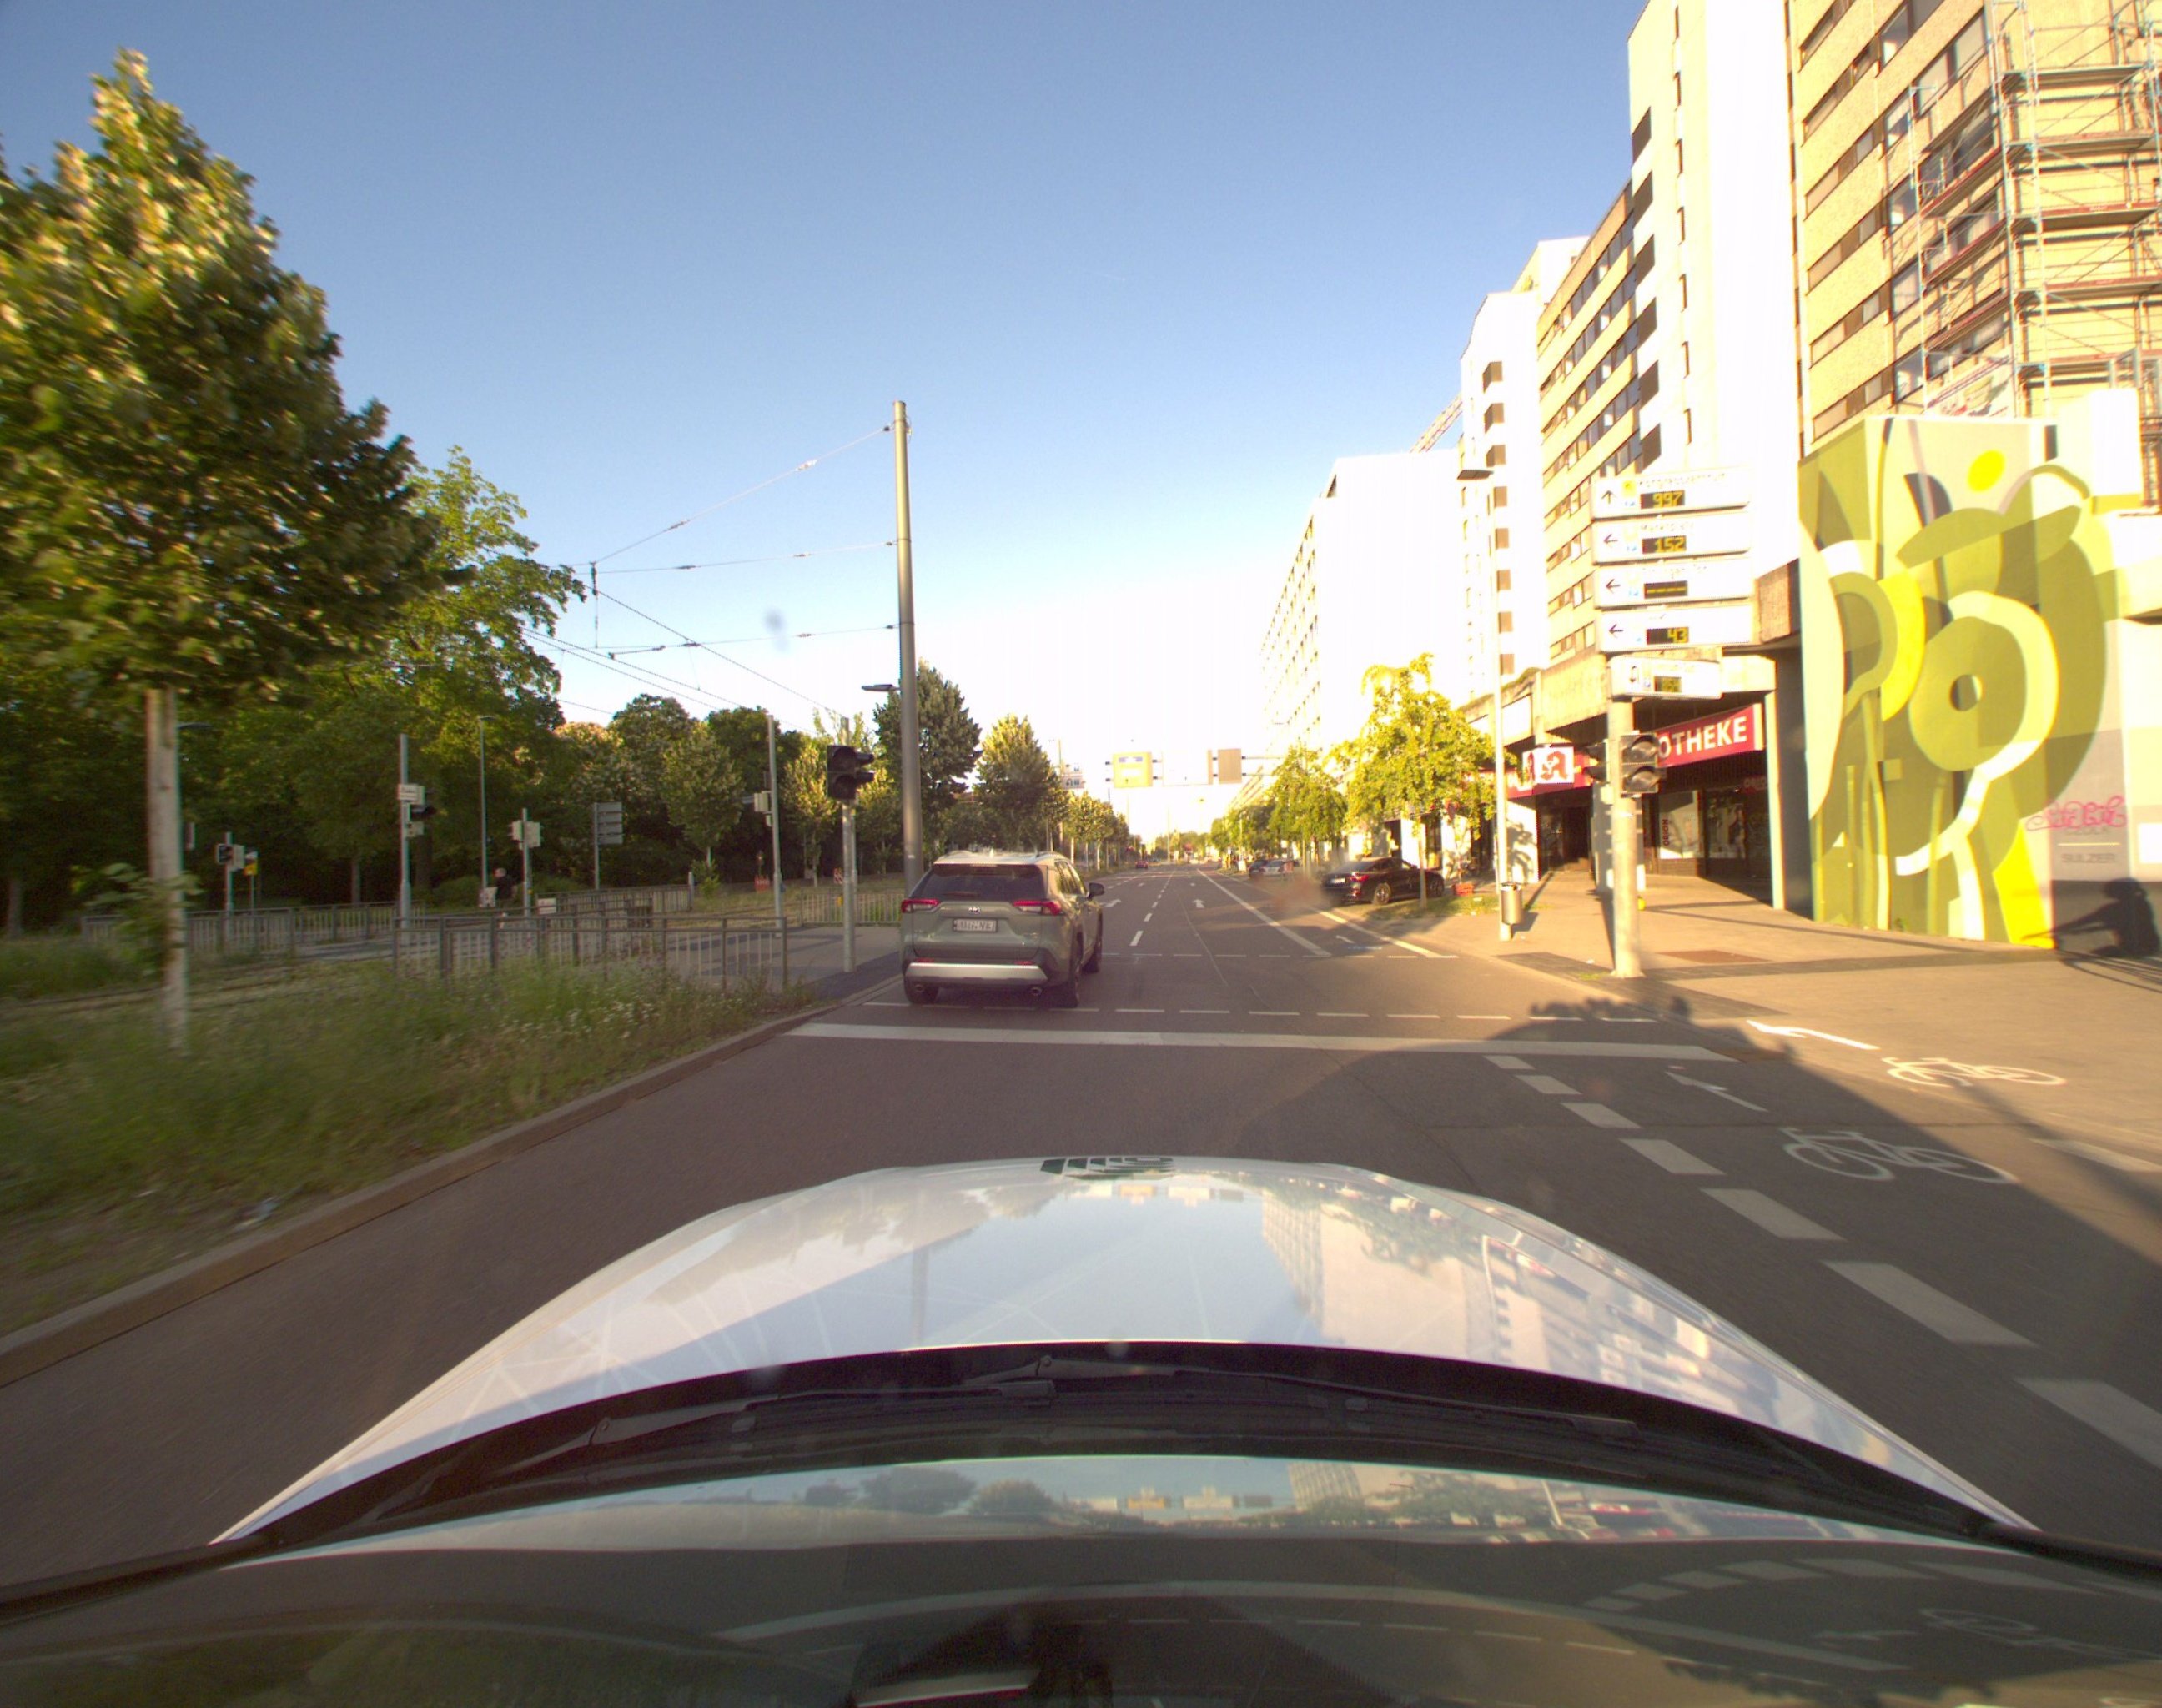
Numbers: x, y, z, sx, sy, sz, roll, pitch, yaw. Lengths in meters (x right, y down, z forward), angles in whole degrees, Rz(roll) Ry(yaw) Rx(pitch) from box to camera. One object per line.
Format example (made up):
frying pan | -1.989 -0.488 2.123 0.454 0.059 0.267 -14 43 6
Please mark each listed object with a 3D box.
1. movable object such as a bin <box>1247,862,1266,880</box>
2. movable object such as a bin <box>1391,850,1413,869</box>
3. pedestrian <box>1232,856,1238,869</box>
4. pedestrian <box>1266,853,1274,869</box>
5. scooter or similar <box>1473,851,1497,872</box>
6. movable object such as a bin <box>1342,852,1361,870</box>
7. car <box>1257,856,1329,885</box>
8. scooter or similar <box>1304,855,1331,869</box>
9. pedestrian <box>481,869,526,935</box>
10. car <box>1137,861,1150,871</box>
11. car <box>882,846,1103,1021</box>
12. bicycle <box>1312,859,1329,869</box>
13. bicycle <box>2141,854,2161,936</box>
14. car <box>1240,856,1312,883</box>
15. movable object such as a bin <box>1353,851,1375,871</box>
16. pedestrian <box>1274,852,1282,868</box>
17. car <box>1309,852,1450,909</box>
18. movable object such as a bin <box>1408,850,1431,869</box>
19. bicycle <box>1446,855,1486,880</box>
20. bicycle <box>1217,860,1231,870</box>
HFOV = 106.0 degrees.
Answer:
movable object such as a bin | 12.775 1.219 59.244 1.081 1.301 1.361 -2 -1 0
movable object such as a bin | 23.301 0.398 59.062 1.176 1.313 1.126 -2 0 5
pedestrian | 20.439 1.139 108.056 0.650 1.702 0.690 -4 -1 6
pedestrian | 22.523 0.788 96.961 0.738 1.849 0.944 -4 -2 16
scooter or similar | 22.999 0.433 46.350 0.400 1.161 1.829 1 0 -3
movable object such as a bin | 21.082 0.537 63.544 1.099 1.330 1.285 -4 -1 6
car | 12.428 0.971 47.625 4.005 1.417 1.733 -3 -1 -32
scooter or similar | 23.045 0.771 79.441 2.360 1.183 0.622 -3 -1 5
pedestrian | -14.978 1.220 21.133 0.663 1.607 0.682 1 4 31
car | 8.868 1.738 115.847 1.665 1.352 4.008 0 0 7
car | -0.809 0.767 9.995 1.825 1.672 4.289 0 0 6
bicycle | 22.413 0.920 76.122 1.414 0.891 0.458 -2 -1 6
bicycle | 14.420 0.529 10.189 0.458 1.047 1.326 -2 1 -23
car | 12.987 1.012 54.202 4.687 1.508 1.919 -3 -1 -33
movable object such as a bin | 20.529 0.519 59.123 1.176 1.323 1.268 -4 -1 5
pedestrian | 23.588 0.744 97.551 0.750 1.824 0.944 -4 -1 16
car | 9.486 0.804 25.768 4.626 1.453 1.794 -3 0 -35
movable object such as a bin | 24.493 0.366 58.954 1.176 1.313 1.089 -2 0 5
bicycle | 17.774 0.627 37.641 1.564 1.048 0.434 -4 -1 5
bicycle | 20.179 1.542 114.996 1.786 1.193 0.568 -4 -1 2
